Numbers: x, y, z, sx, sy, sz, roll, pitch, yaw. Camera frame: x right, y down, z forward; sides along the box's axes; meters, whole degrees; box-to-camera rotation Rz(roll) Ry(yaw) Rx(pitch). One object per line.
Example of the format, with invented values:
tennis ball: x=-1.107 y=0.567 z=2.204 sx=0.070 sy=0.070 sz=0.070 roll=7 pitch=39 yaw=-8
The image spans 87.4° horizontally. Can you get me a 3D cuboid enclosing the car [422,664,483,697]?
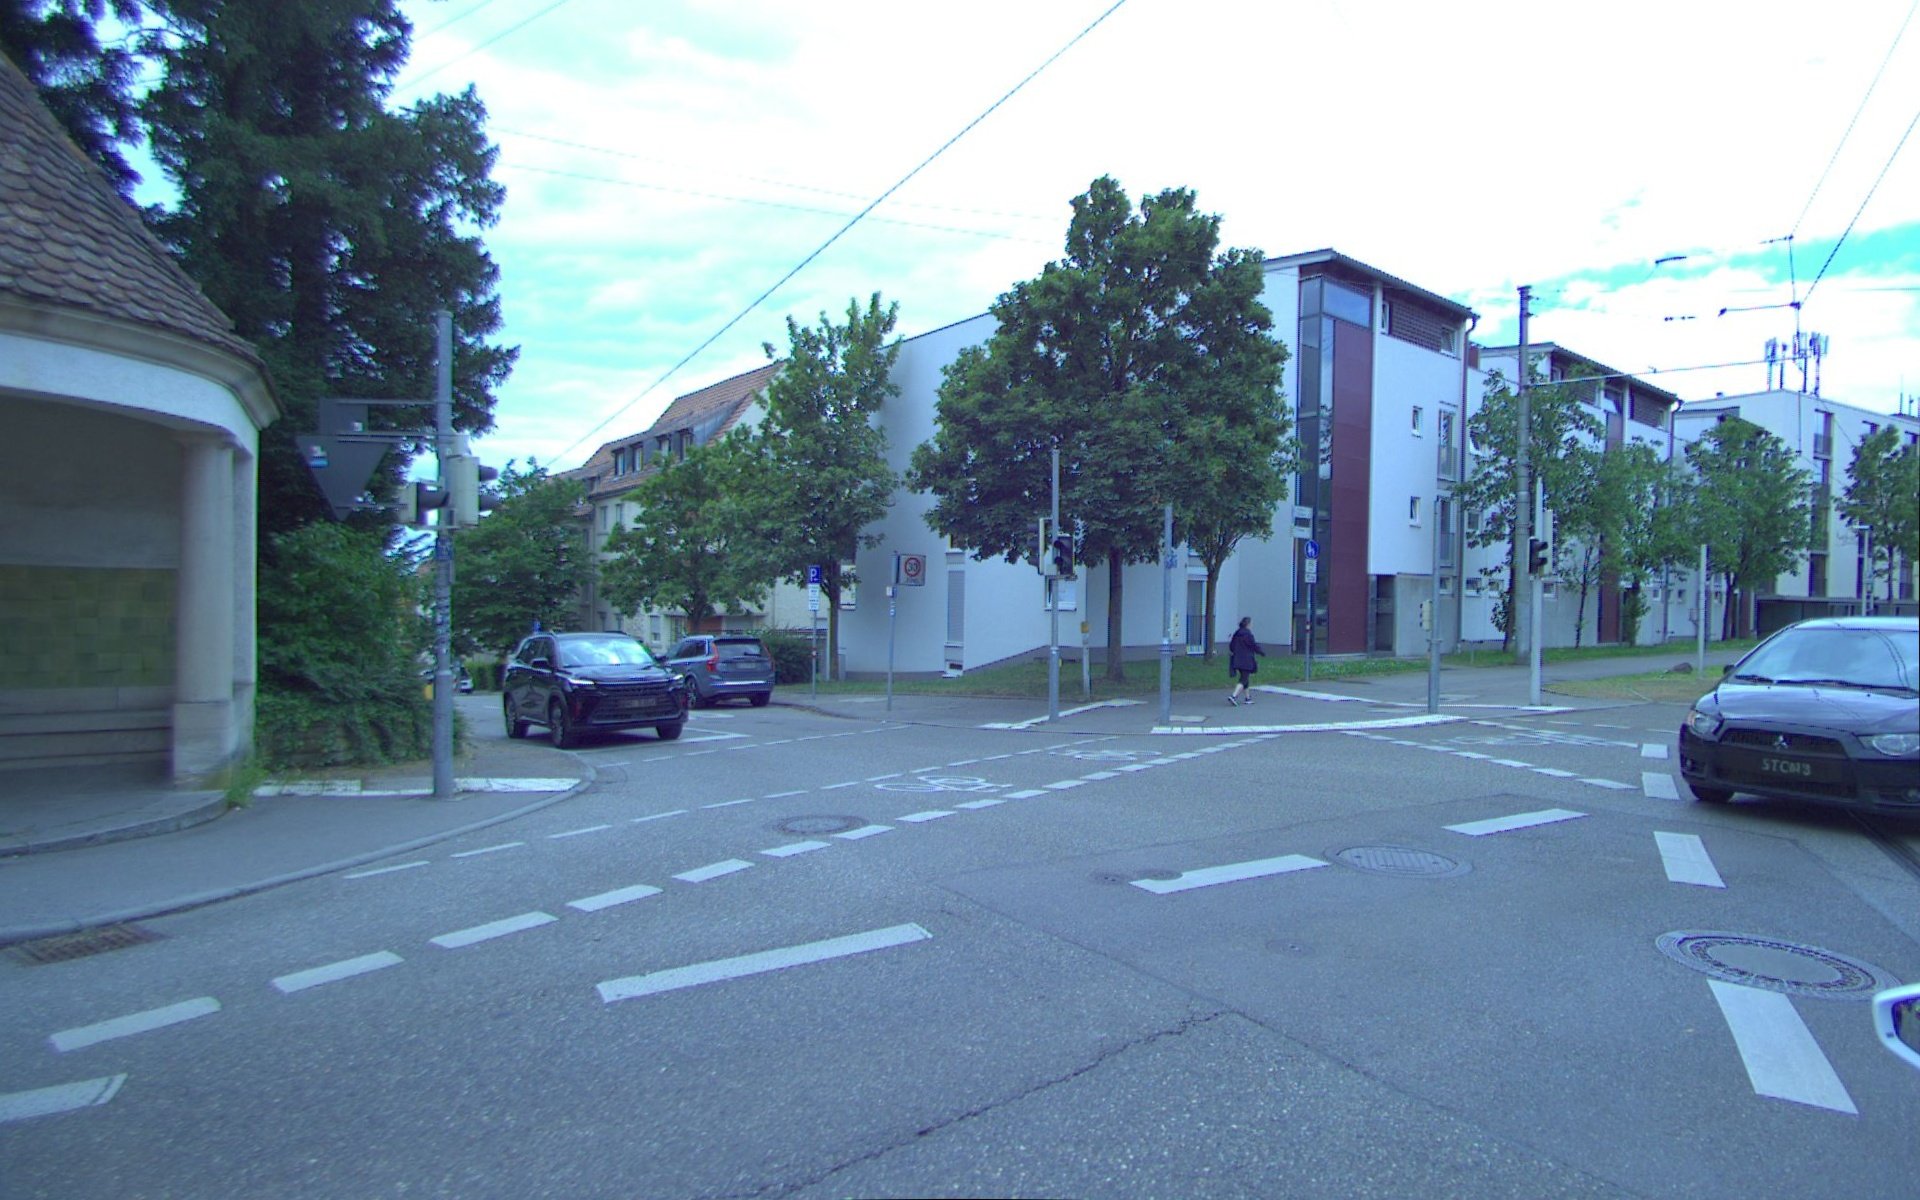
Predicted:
car: x=-25.470 y=4.037 z=50.350 sx=1.982 sy=1.537 sz=3.959 roll=1 pitch=-5 yaw=-38

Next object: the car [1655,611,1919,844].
car: x=7.458 y=0.885 z=8.181 sx=3.692 sy=1.525 sz=1.665 roll=1 pitch=-2 yaw=-33

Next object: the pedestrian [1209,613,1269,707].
pedestrian: x=5.108 y=1.075 z=18.394 sx=0.811 sy=1.666 sz=0.670 roll=-1 pitch=0 yaw=-35

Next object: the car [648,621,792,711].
car: x=-6.079 y=1.628 z=25.030 sx=1.981 sy=2.040 sz=4.426 roll=1 pitch=-4 yaw=-36

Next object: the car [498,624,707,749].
car: x=-5.827 y=1.292 z=16.032 sx=1.947 sy=1.691 sz=4.443 roll=1 pitch=-3 yaw=-36

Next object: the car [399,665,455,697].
car: x=-28.464 y=4.332 z=53.560 sx=1.982 sy=1.537 sz=3.959 roll=1 pitch=-5 yaw=-38

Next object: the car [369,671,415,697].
car: x=-35.906 y=5.305 z=63.483 sx=1.982 sy=1.537 sz=3.959 roll=1 pitch=-5 yaw=-38
